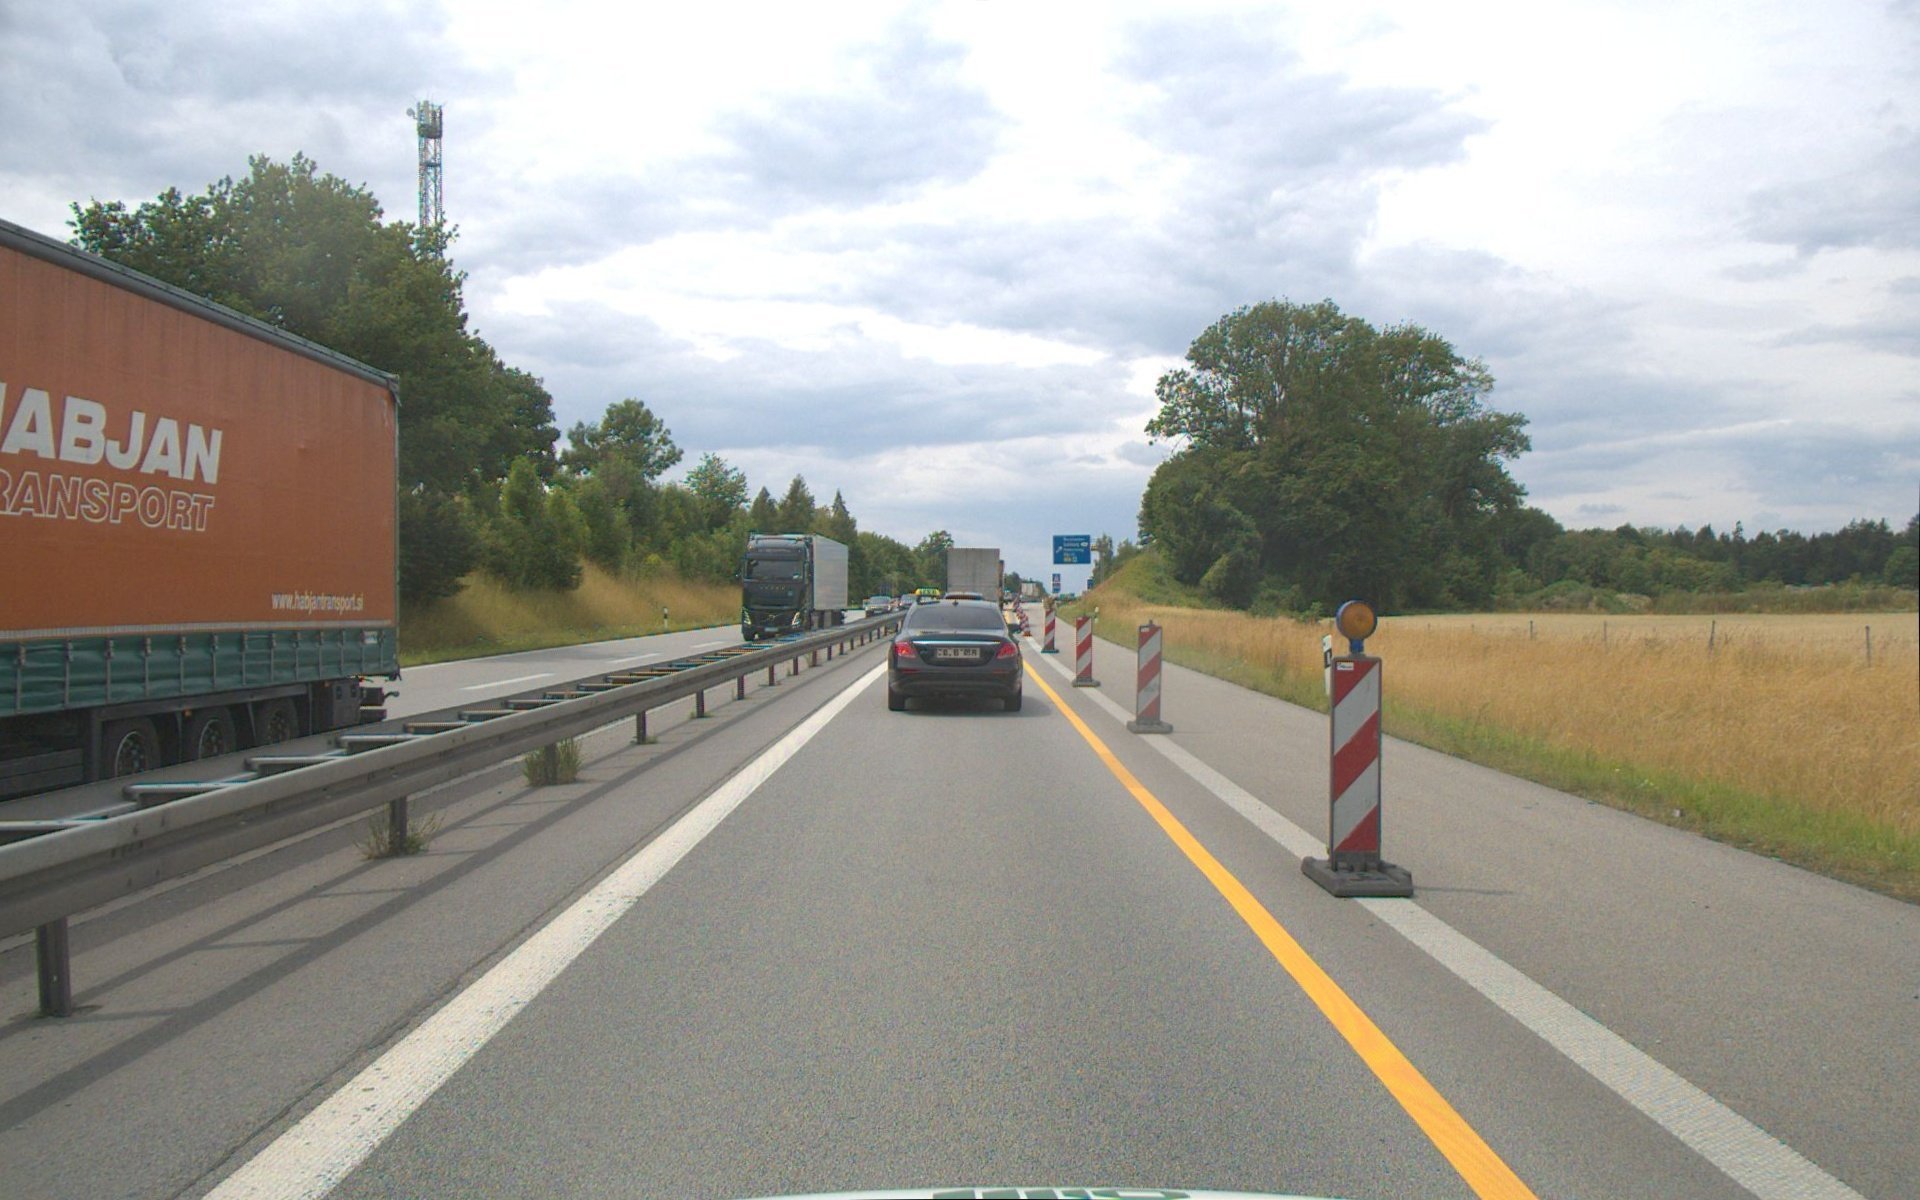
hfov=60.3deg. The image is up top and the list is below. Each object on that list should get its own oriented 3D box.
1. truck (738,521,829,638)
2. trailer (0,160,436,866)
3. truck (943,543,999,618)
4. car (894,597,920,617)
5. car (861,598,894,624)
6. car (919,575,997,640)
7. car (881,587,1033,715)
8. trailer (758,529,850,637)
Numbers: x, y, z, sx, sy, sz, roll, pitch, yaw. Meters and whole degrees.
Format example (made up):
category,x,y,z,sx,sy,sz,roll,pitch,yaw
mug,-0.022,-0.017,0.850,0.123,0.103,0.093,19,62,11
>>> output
category,x,y,z,sx,sy,sz,roll,pitch,yaw
truck,-6.742,-0.708,63.991,2.585,4.243,6.985,1,-1,1
trailer,-7.389,-0.517,12.515,3.086,4.287,11.641,1,-1,0
truck,0.525,-0.932,82.439,2.535,3.586,4.810,1,-1,-2
car,-4.486,0.586,140.648,1.952,1.646,4.000,1,-1,0
car,-5.429,0.744,109.054,1.952,1.646,4.000,1,-1,0
car,-0.100,0.260,55.043,1.957,2.049,3.991,1,-1,-9
car,0.047,0.669,22.936,1.758,1.587,4.002,1,-1,4
trailer,-6.578,-0.595,71.526,2.585,4.243,12.188,1,-1,1
